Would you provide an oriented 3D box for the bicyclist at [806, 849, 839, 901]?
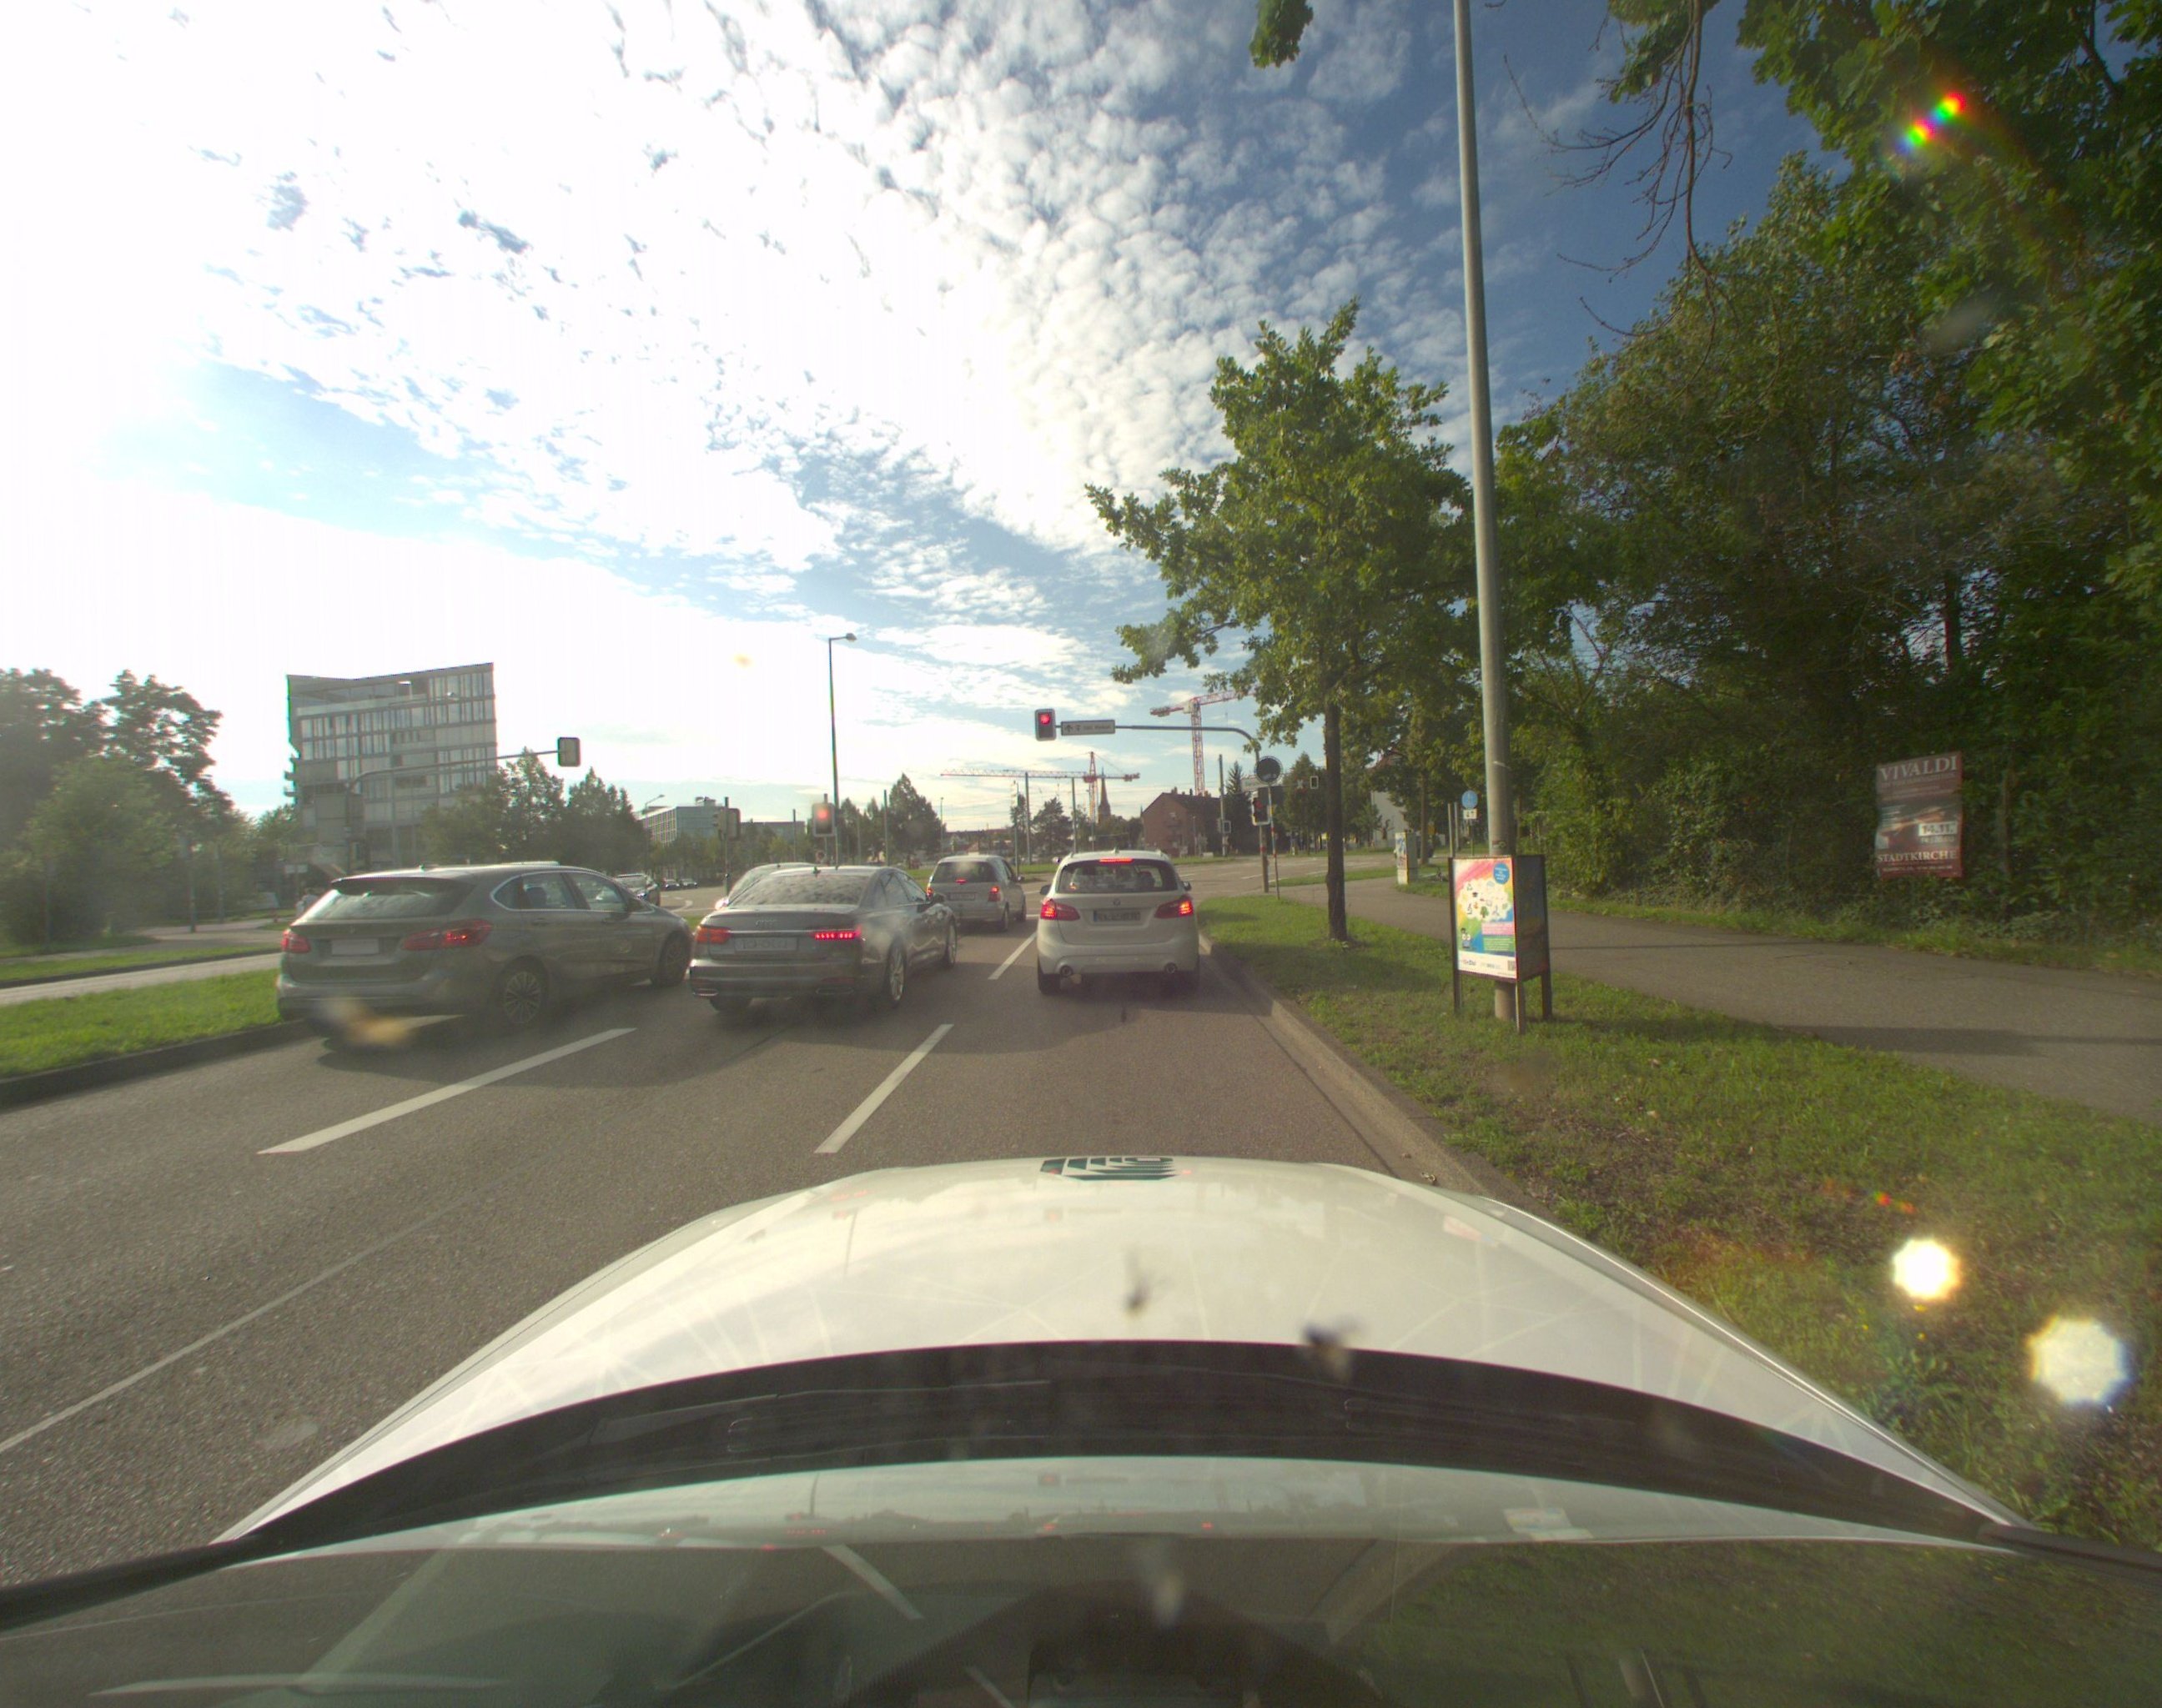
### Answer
[{"bbox_3d":[-7.881,0.636,24.823,0.850,1.526,0.737,-3,0,-15],"label":"bicyclist"}]

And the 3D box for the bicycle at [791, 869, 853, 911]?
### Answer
[{"bbox_3d":[-7.878,1.092,24.815,1.728,1.163,0.652,-2,-1,-15],"label":"bicycle"}]

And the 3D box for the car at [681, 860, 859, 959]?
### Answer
[{"bbox_3d":[-5.497,0.896,14.917,1.674,1.523,3.811,-1,0,1],"label":"car"}]

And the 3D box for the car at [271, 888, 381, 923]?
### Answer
[{"bbox_3d":[-40.195,2.713,43.464,3.945,1.551,1.743,-3,0,-30],"label":"car"}]

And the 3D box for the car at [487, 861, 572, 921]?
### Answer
[{"bbox_3d":[-23.700,1.570,35.231,2.004,2.235,5.874,-4,0,-25],"label":"car"}]

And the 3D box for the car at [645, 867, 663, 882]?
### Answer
[{"bbox_3d":[-49.434,2.371,94.366,1.600,1.415,3.638,-4,-2,-25],"label":"car"}]

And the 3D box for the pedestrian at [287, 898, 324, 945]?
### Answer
[{"bbox_3d":[-26.873,2.336,28.220,0.653,1.569,0.615,-3,-1,-3],"label":"pedestrian"}]

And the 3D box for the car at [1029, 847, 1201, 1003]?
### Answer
[{"bbox_3d":[0.406,0.731,10.393,1.723,1.558,4.059,-1,0,2],"label":"car"}]

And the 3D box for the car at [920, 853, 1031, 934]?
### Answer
[{"bbox_3d":[-2.180,0.773,17.917,1.722,1.558,4.060,-1,0,2],"label":"car"}]

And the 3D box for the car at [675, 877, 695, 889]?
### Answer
[{"bbox_3d":[-52.182,3.857,107.363,1.628,1.464,3.689,-3,0,-37],"label":"car"}]

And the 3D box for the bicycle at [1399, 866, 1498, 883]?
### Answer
[{"bbox_3d":[10.536,0.576,23.497,1.407,0.385,2.568,-3,0,-9],"label":"bicycle"}]

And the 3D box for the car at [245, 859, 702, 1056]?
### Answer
[{"bbox_3d":[-5.933,0.865,8.700,1.722,1.558,4.021,-2,0,2],"label":"car"}]

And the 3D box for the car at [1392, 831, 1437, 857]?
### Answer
[{"bbox_3d":[22.616,-0.694,55.248,3.216,1.574,1.556,-4,1,-42],"label":"car"}]

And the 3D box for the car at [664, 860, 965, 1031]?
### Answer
[{"bbox_3d":[-2.715,0.836,9.588,1.883,1.483,4.614,-1,-1,2],"label":"car"}]

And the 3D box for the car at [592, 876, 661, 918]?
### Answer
[{"bbox_3d":[-18.348,1.710,33.035,1.909,1.410,4.174,-4,-1,-23],"label":"car"}]
